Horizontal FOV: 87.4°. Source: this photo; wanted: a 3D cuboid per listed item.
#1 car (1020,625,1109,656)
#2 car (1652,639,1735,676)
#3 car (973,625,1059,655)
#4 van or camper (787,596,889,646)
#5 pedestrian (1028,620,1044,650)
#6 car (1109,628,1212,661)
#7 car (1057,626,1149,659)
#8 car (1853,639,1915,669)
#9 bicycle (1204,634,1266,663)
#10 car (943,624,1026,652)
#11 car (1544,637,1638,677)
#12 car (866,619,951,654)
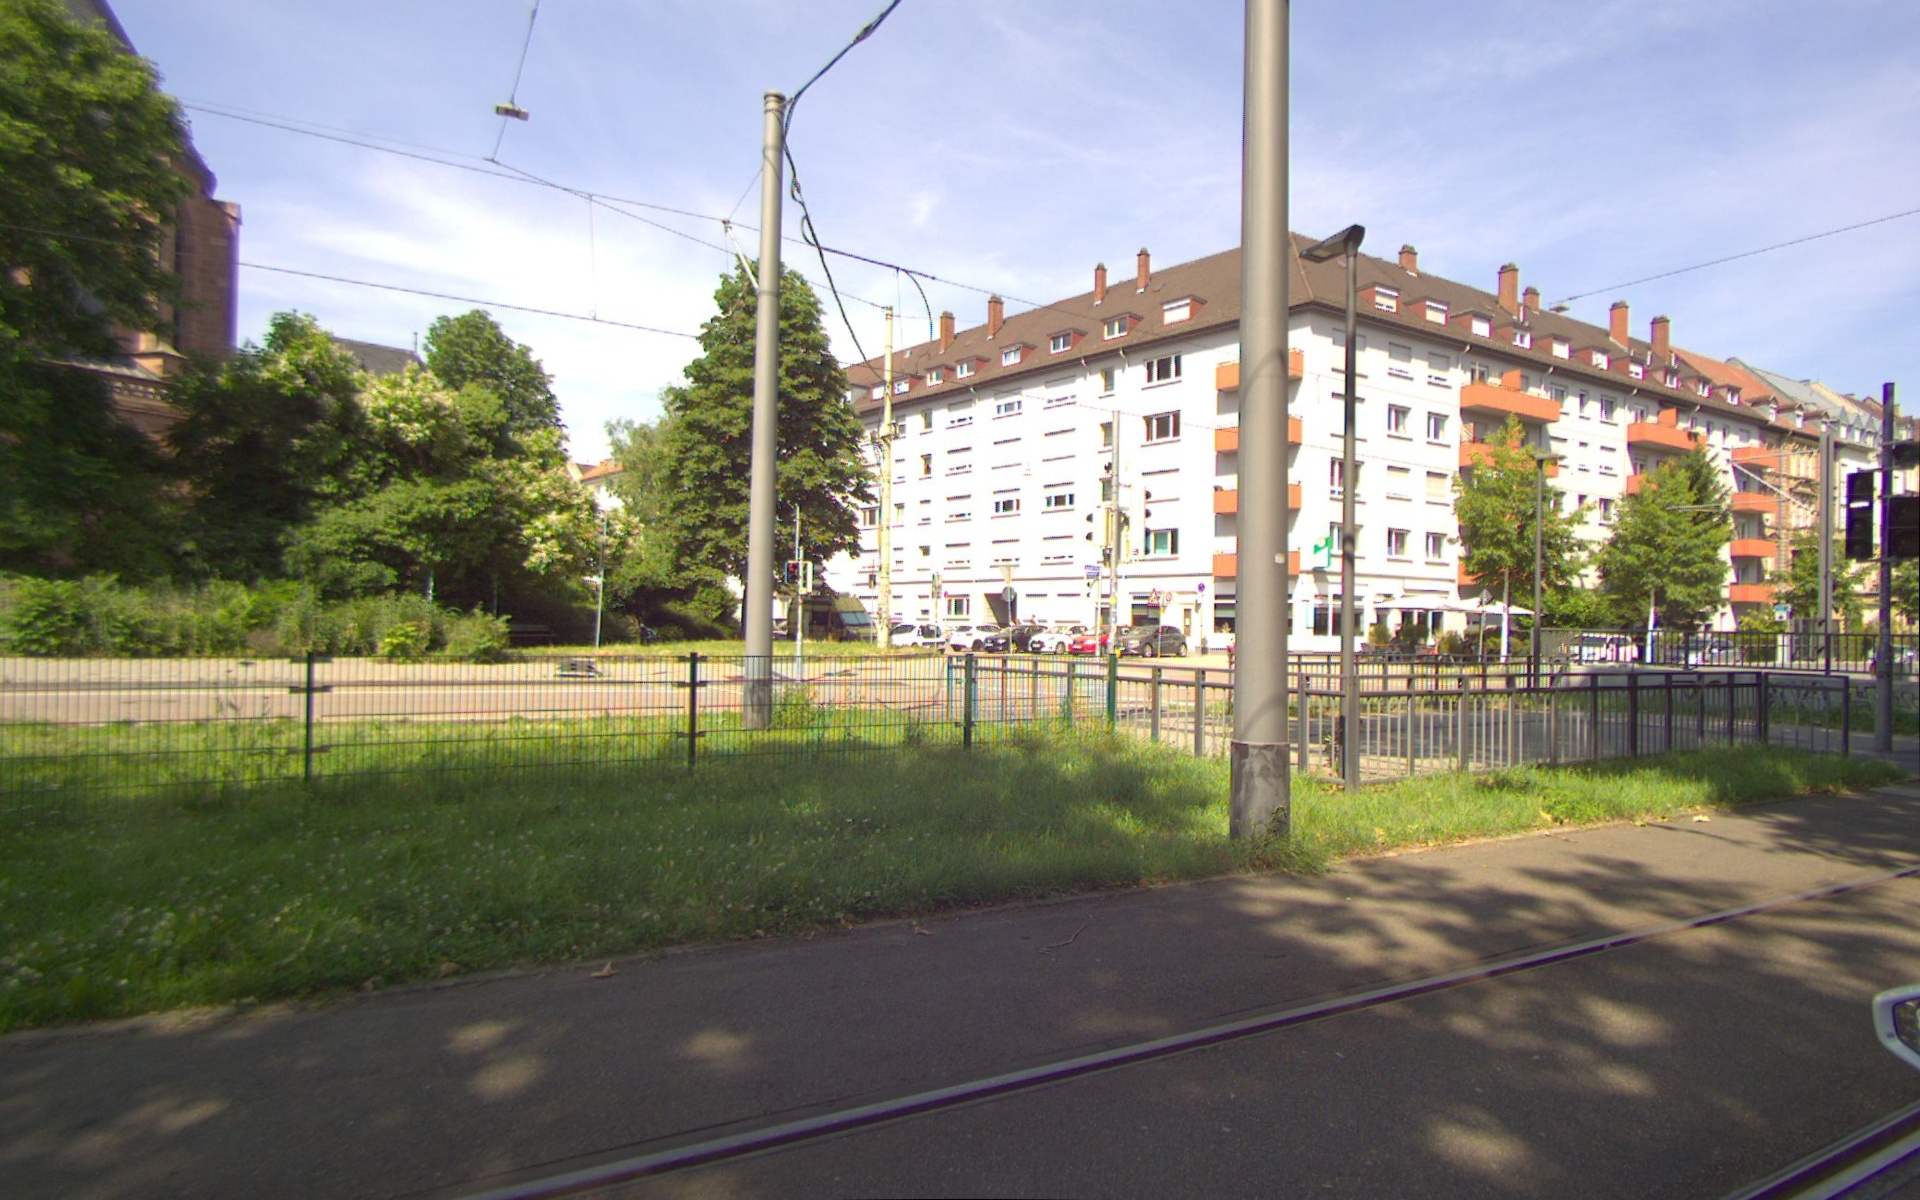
[{"bbox_3d":[5.136,1.991,49.087,4.129,1.425,1.918,2,-2,-38],"label":"car"},{"bbox_3d":[31.825,2.461,43.547,3.961,1.518,1.759,2,-3,-36],"label":"car"},{"bbox_3d":[2.849,2.029,50.656,4.129,1.425,1.917,2,-1,-38],"label":"car"},{"bbox_3d":[-6.196,1.024,50.432,2.228,2.360,5.704,2,-1,-42],"label":"van or camper"},{"bbox_3d":[4.122,1.917,54.656,0.679,1.593,0.544,0,-1,37],"label":"pedestrian"},{"bbox_3d":[8.837,1.950,44.170,4.598,1.394,1.821,2,-2,-36],"label":"car"},{"bbox_3d":[6.674,1.963,46.768,4.129,1.425,1.918,2,-2,-38],"label":"car"},{"bbox_3d":[50.305,2.913,54.685,3.961,1.518,1.758,2,-1,-36],"label":"car"},{"bbox_3d":[11.594,2.040,42.299,2.779,1.152,0.905,2,-1,-34],"label":"bicycle"},{"bbox_3d":[1.318,2.003,52.960,4.129,1.425,1.917,2,-1,-38],"label":"car"},{"bbox_3d":[24.720,2.215,39.314,3.961,1.518,1.759,2,-3,-36],"label":"car"},{"bbox_3d":[-2.387,1.650,46.039,3.702,1.425,1.823,2,0,44],"label":"car"}]
